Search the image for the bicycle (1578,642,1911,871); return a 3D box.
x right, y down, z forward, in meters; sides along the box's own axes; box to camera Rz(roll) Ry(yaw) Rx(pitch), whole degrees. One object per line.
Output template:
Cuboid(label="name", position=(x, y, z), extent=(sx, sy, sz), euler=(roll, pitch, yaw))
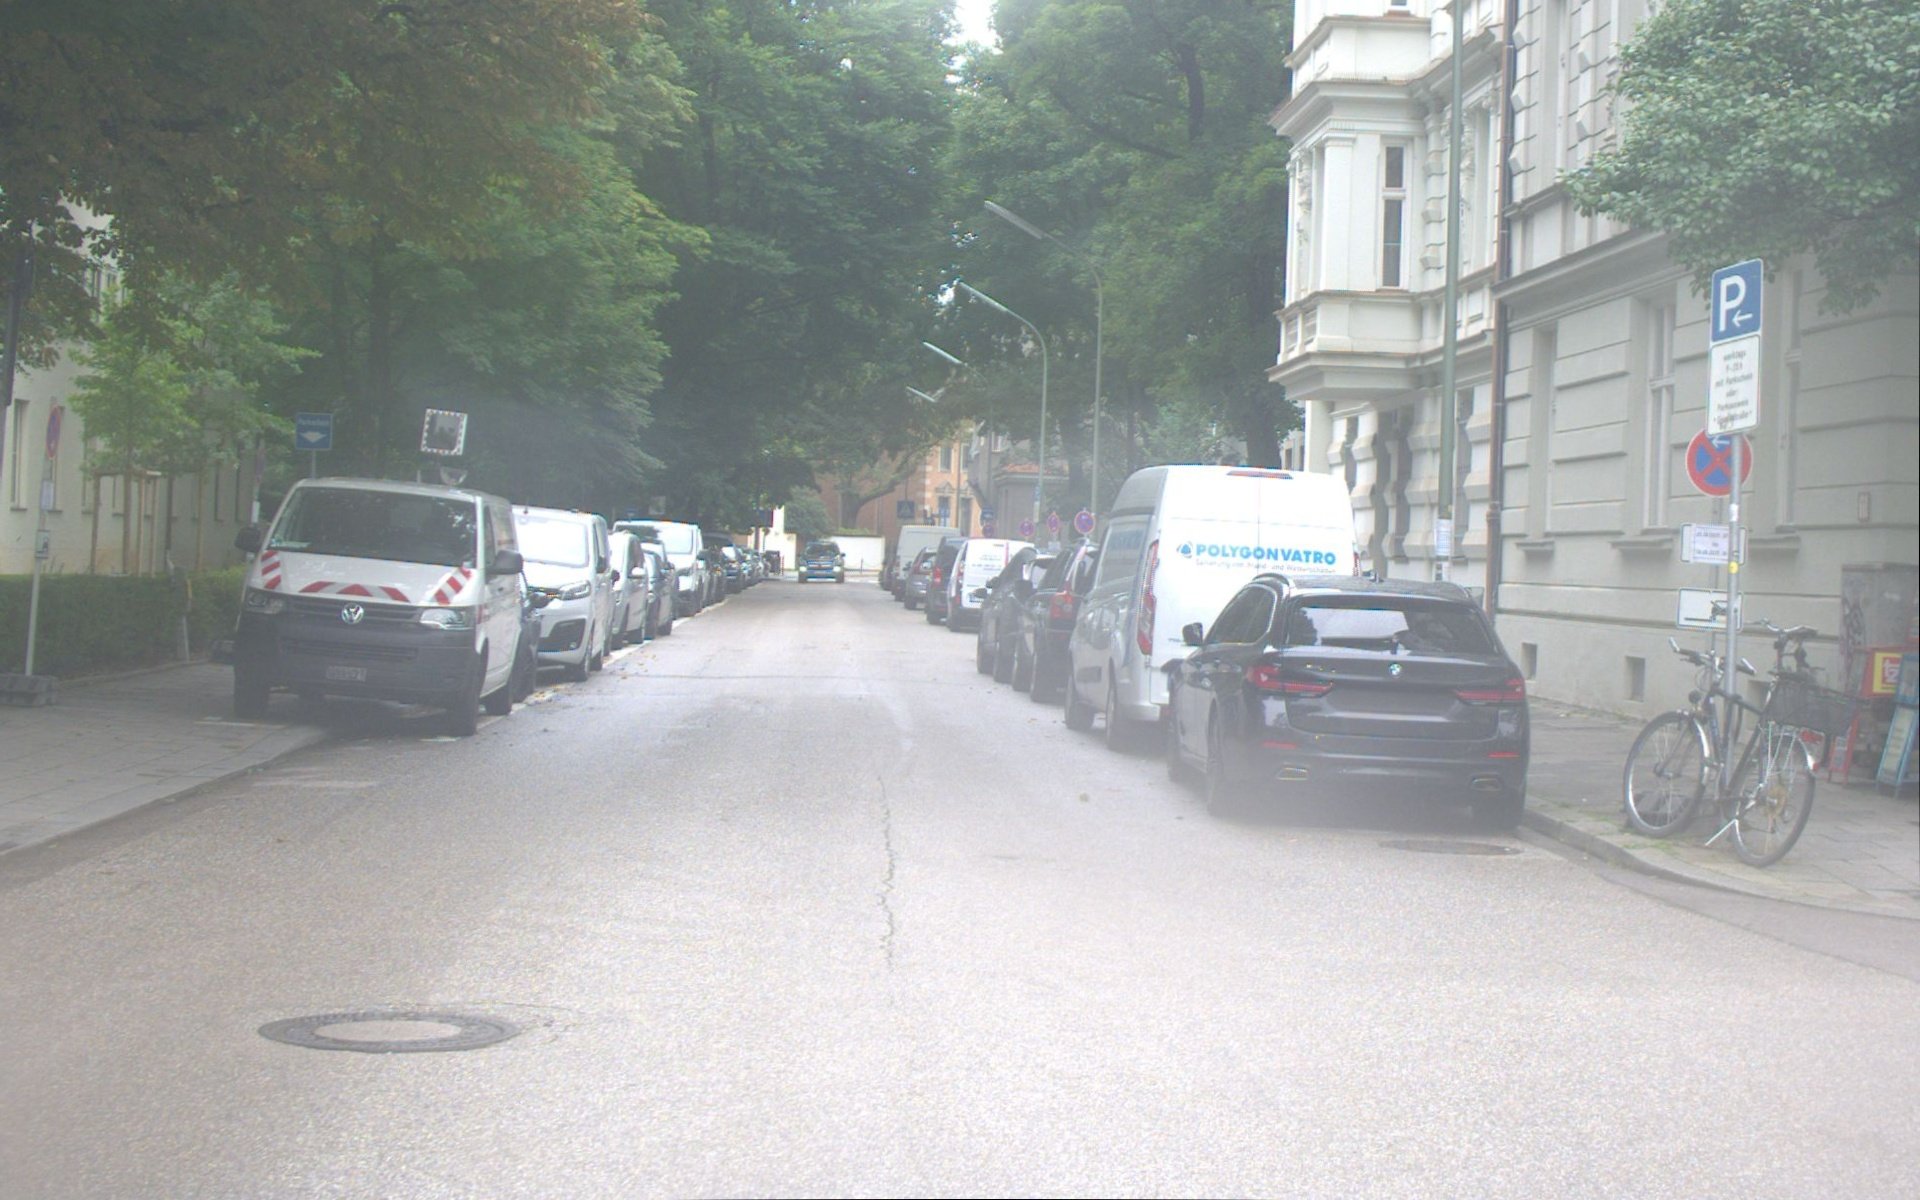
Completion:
Cuboid(label="bicycle", position=(4.130, 0.797, 18.294), extent=(0.653, 1.024, 2.203), euler=(1, 2, -18))

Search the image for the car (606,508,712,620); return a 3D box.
Cuboid(label="car", position=(-6.348, -0.769, 72.900), extent=(2.002, 2.179, 4.697), euler=(3, 1, -4))

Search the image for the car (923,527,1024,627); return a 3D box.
Cuboid(label="car", position=(0.250, -0.503, 71.643), extent=(1.993, 1.968, 4.000), euler=(2, 1, -1))

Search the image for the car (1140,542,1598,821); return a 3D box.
Cuboid(label="car", position=(2.426, 0.437, 21.675), extent=(2.272, 1.541, 4.587), euler=(1, 1, -1))

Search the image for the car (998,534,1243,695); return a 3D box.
Cuboid(label="car", position=(1.678, 0.123, 37.465), extent=(2.138, 1.624, 4.316), euler=(1, 1, -4))

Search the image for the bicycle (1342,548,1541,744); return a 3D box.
Cuboid(label="bicycle", position=(3.929, 0.355, 28.215), extent=(0.707, 1.510, 2.039), euler=(2, 1, -20))

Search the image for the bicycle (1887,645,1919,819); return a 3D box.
Cuboid(label="bicycle", position=(6.066, 0.832, 20.617), extent=(0.430, 1.024, 1.891), euler=(2, 2, -1))

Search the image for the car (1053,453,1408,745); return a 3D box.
Cuboid(label="car", position=(2.131, -0.030, 28.629), extent=(2.203, 2.201, 4.856), euler=(1, 1, -4))

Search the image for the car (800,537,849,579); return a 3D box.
Cuboid(label="car", position=(-5.941, -1.875, 151.091), extent=(1.993, 1.777, 4.000), euler=(2, 1, -1))

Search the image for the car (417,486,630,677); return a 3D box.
Cuboid(label="car", position=(-4.988, -0.246, 39.921), extent=(2.183, 1.950, 5.168), euler=(3, 1, -6))

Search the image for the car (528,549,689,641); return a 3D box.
Cuboid(label="car", position=(-5.705, -0.104, 56.245), extent=(2.118, 1.325, 4.138), euler=(3, 1, 0))

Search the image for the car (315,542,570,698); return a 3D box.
Cuboid(label="car", position=(-5.059, 0.154, 34.115), extent=(2.212, 1.325, 3.949), euler=(3, 1, -5))

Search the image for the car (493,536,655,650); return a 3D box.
Cuboid(label="car", position=(-5.706, -0.138, 51.315), extent=(2.069, 1.514, 4.238), euler=(3, 1, -3))

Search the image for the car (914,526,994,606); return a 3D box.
Cuboid(label="car", position=(-0.177, -0.914, 90.829), extent=(1.993, 2.007, 4.000), euler=(2, 1, -1))

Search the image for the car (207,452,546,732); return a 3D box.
Cuboid(label="car", position=(-4.647, -0.107, 28.202), extent=(2.247, 1.950, 5.455), euler=(3, 1, -6))

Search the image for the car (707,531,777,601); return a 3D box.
Cuboid(label="car", position=(-7.177, -1.142, 112.930), extent=(2.047, 2.147, 4.315), euler=(3, 1, -5))

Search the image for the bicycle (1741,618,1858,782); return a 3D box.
Cuboid(label="bicycle", position=(5.887, 0.682, 24.166), extent=(0.546, 1.056, 1.750), euler=(2, 1, 6))
